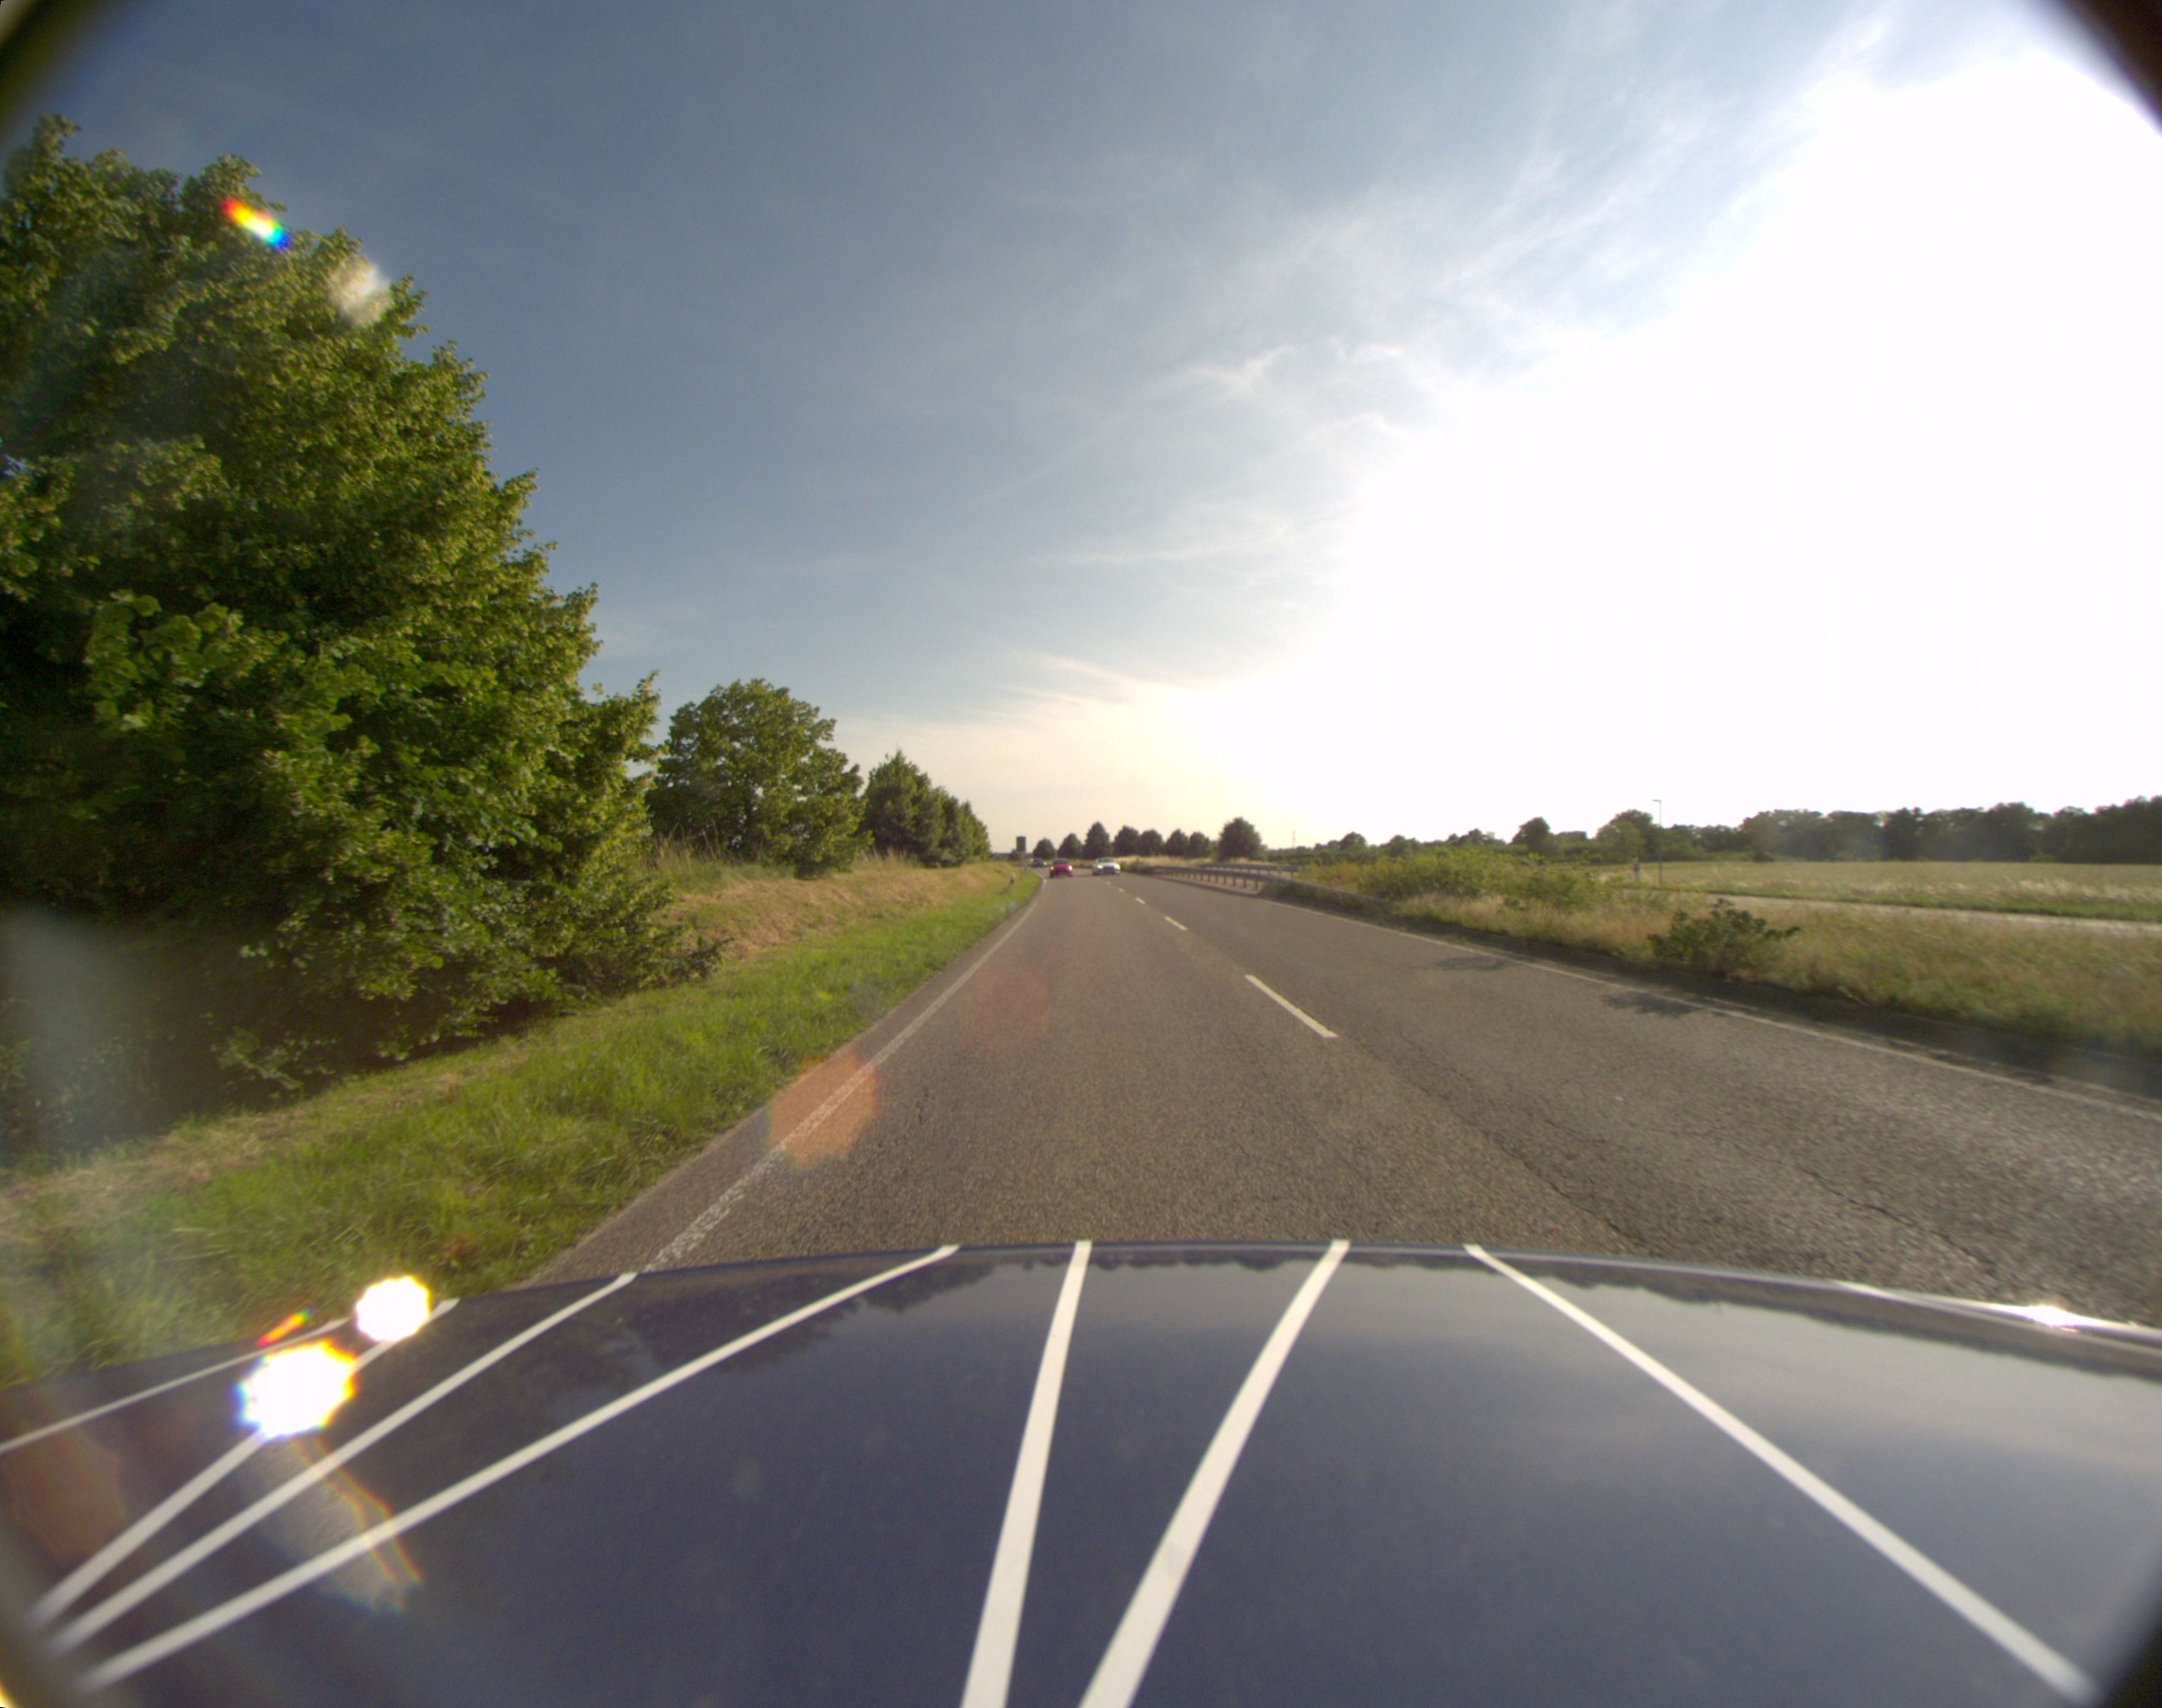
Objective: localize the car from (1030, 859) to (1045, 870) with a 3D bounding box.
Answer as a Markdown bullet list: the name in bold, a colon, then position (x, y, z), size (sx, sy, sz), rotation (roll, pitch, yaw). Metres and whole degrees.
- **car**: position (-6.539, 1.571, 114.622), size (1.753, 1.521, 3.996), rotation (-2, 0, -10)

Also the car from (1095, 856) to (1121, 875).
- **car**: position (2.190, 0.935, 62.572), size (1.876, 1.390, 4.203), rotation (-2, 0, -2)

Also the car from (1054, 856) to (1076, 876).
- **car**: position (-1.273, 0.949, 61.203), size (1.665, 1.455, 3.954), rotation (-2, 1, 0)
